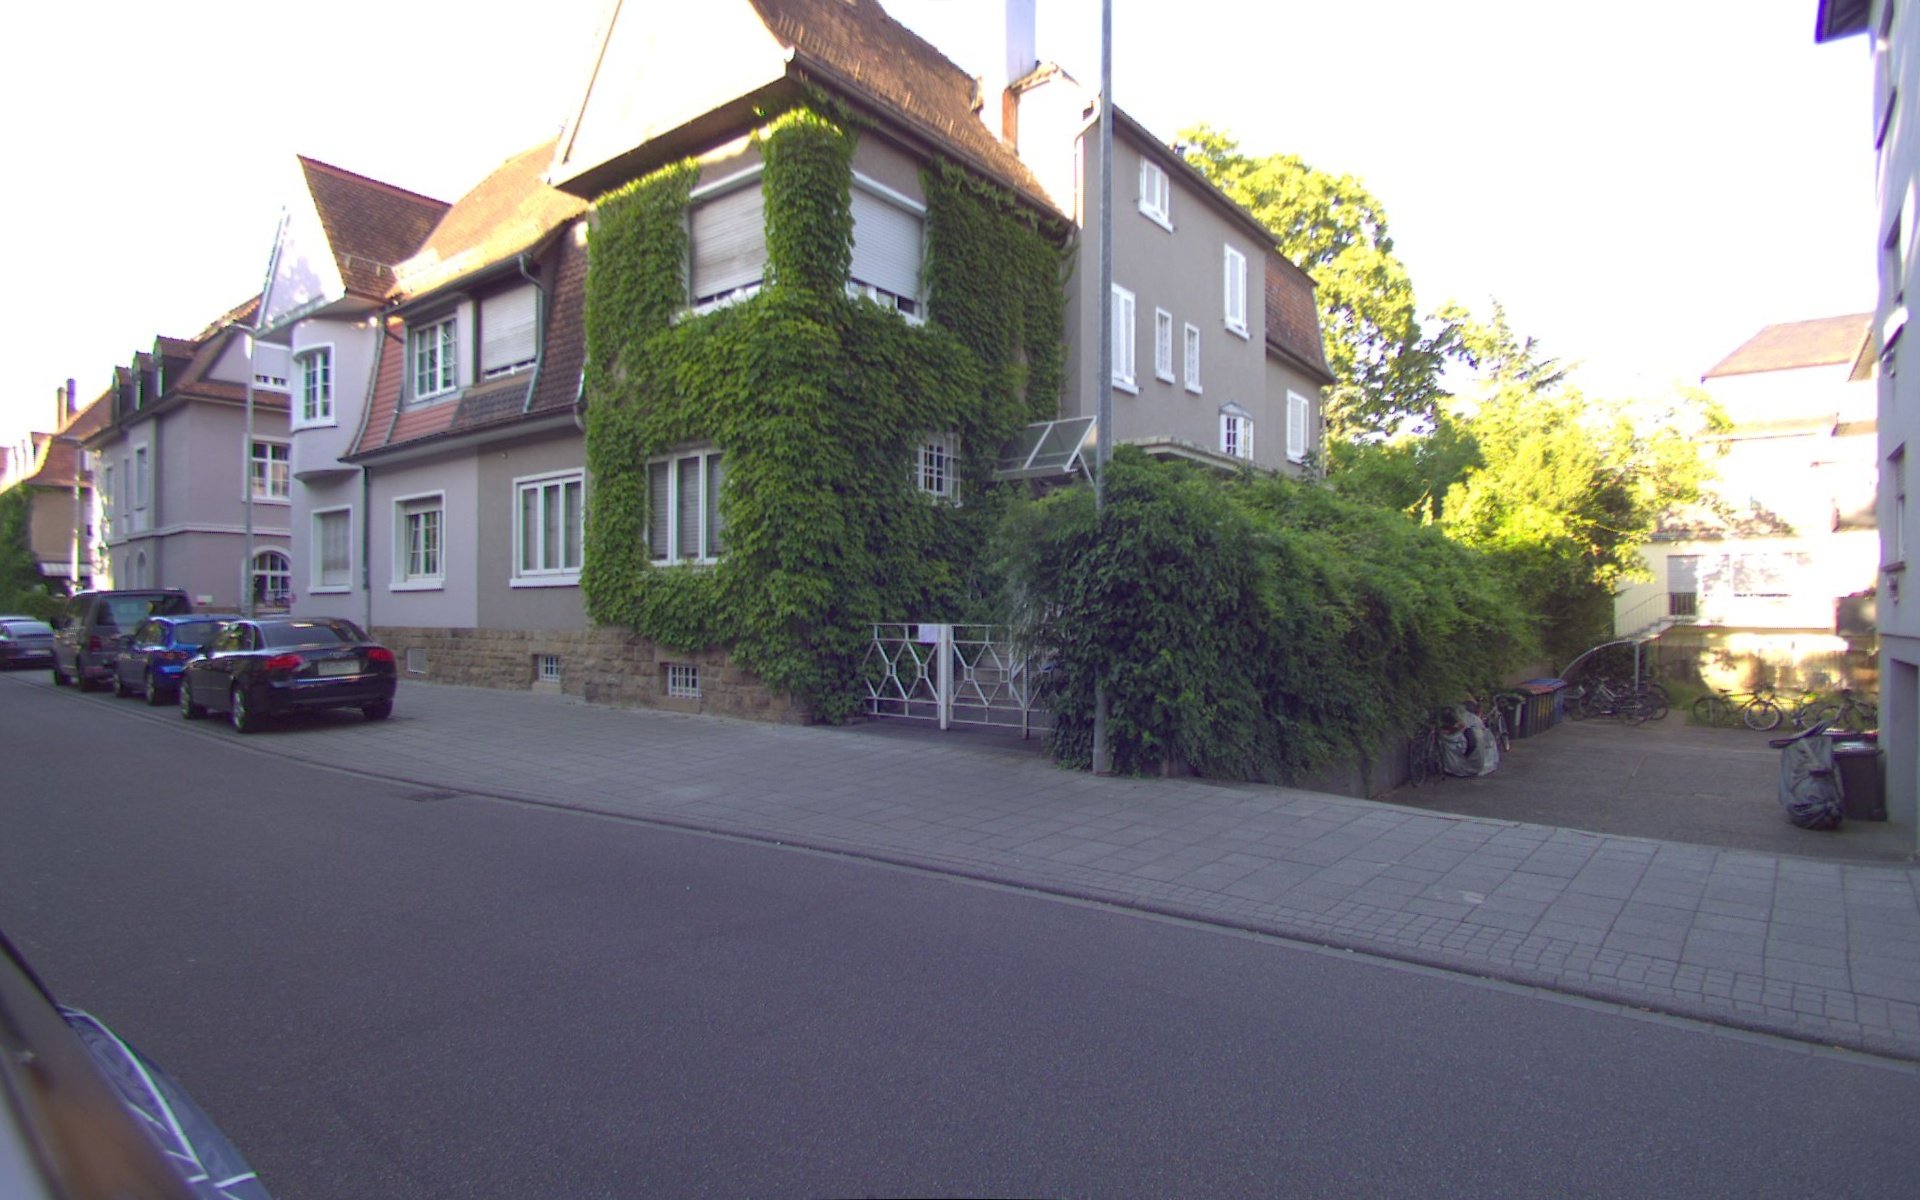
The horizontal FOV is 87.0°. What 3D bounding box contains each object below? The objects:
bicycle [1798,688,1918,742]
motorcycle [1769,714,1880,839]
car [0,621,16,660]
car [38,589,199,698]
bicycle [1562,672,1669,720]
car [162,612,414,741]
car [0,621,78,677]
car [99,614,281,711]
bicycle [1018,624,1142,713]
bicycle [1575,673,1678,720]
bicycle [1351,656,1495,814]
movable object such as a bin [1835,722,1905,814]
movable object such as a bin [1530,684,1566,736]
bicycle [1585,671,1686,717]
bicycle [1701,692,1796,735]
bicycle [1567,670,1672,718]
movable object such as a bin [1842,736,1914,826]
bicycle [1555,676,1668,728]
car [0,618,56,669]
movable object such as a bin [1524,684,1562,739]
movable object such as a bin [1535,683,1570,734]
[{"bbox_3d":[20.380,2.580,23.009,2.005,1.080,0.558,-1,-4,42],"label":"bicycle"},{"bbox_3d":[10.719,2.140,12.607,0.742,1.305,1.565,-1,-2,30],"label":"motorcycle"},{"bbox_3d":[-36.317,1.512,37.484,3.676,1.372,1.641,-1,1,42],"label":"car"},{"bbox_3d":[-17.515,0.830,20.995,4.610,1.990,1.819,-1,0,41],"label":"car"},{"bbox_3d":[17.515,2.544,27.097,2.338,1.142,0.685,-1,-4,42],"label":"bicycle"},{"bbox_3d":[-9.394,0.941,14.001,4.426,1.457,1.783,-1,0,41],"label":"car"},{"bbox_3d":[-26.150,1.322,28.275,4.063,1.394,1.906,-1,1,44],"label":"car"},{"bbox_3d":[-13.626,1.019,17.825,4.060,1.457,1.745,-1,0,41],"label":"car"},{"bbox_3d":[1.712,0.920,14.169,0.476,1.111,2.172,-1,-1,45],"label":"bicycle"},{"bbox_3d":[18.624,2.670,28.315,2.338,1.186,0.685,-1,-4,42],"label":"bicycle"},{"bbox_3d":[6.836,1.813,14.735,0.971,1.907,4.138,-1,-3,38],"label":"bicycle"},{"bbox_3d":[12.311,2.255,13.713,0.611,1.123,0.792,-1,-4,37],"label":"movable object such as a bin"},{"bbox_3d":[13.188,2.456,22.699,0.611,1.123,0.792,-1,-4,37],"label":"movable object such as a bin"},{"bbox_3d":[19.209,2.650,28.813,2.338,1.186,0.685,-1,-4,42],"label":"bicycle"},{"bbox_3d":[18.903,2.708,24.283,1.754,0.886,0.558,-1,-4,42],"label":"bicycle"},{"bbox_3d":[18.067,2.551,27.750,2.338,1.186,0.685,-1,-4,42],"label":"bicycle"},{"bbox_3d":[11.728,2.296,12.948,0.611,1.045,0.532,-1,-4,37],"label":"movable object such as a bin"},{"bbox_3d":[16.251,2.529,25.287,2.294,1.142,0.685,-1,-4,42],"label":"bicycle"},{"bbox_3d":[-30.164,1.359,32.008,4.061,1.478,1.907,-1,1,42],"label":"car"},{"bbox_3d":[12.712,2.419,22.056,0.611,1.123,0.792,-1,-4,37],"label":"movable object such as a bin"},{"bbox_3d":[13.659,2.490,23.330,0.611,1.123,0.792,-1,-4,37],"label":"movable object such as a bin"}]
